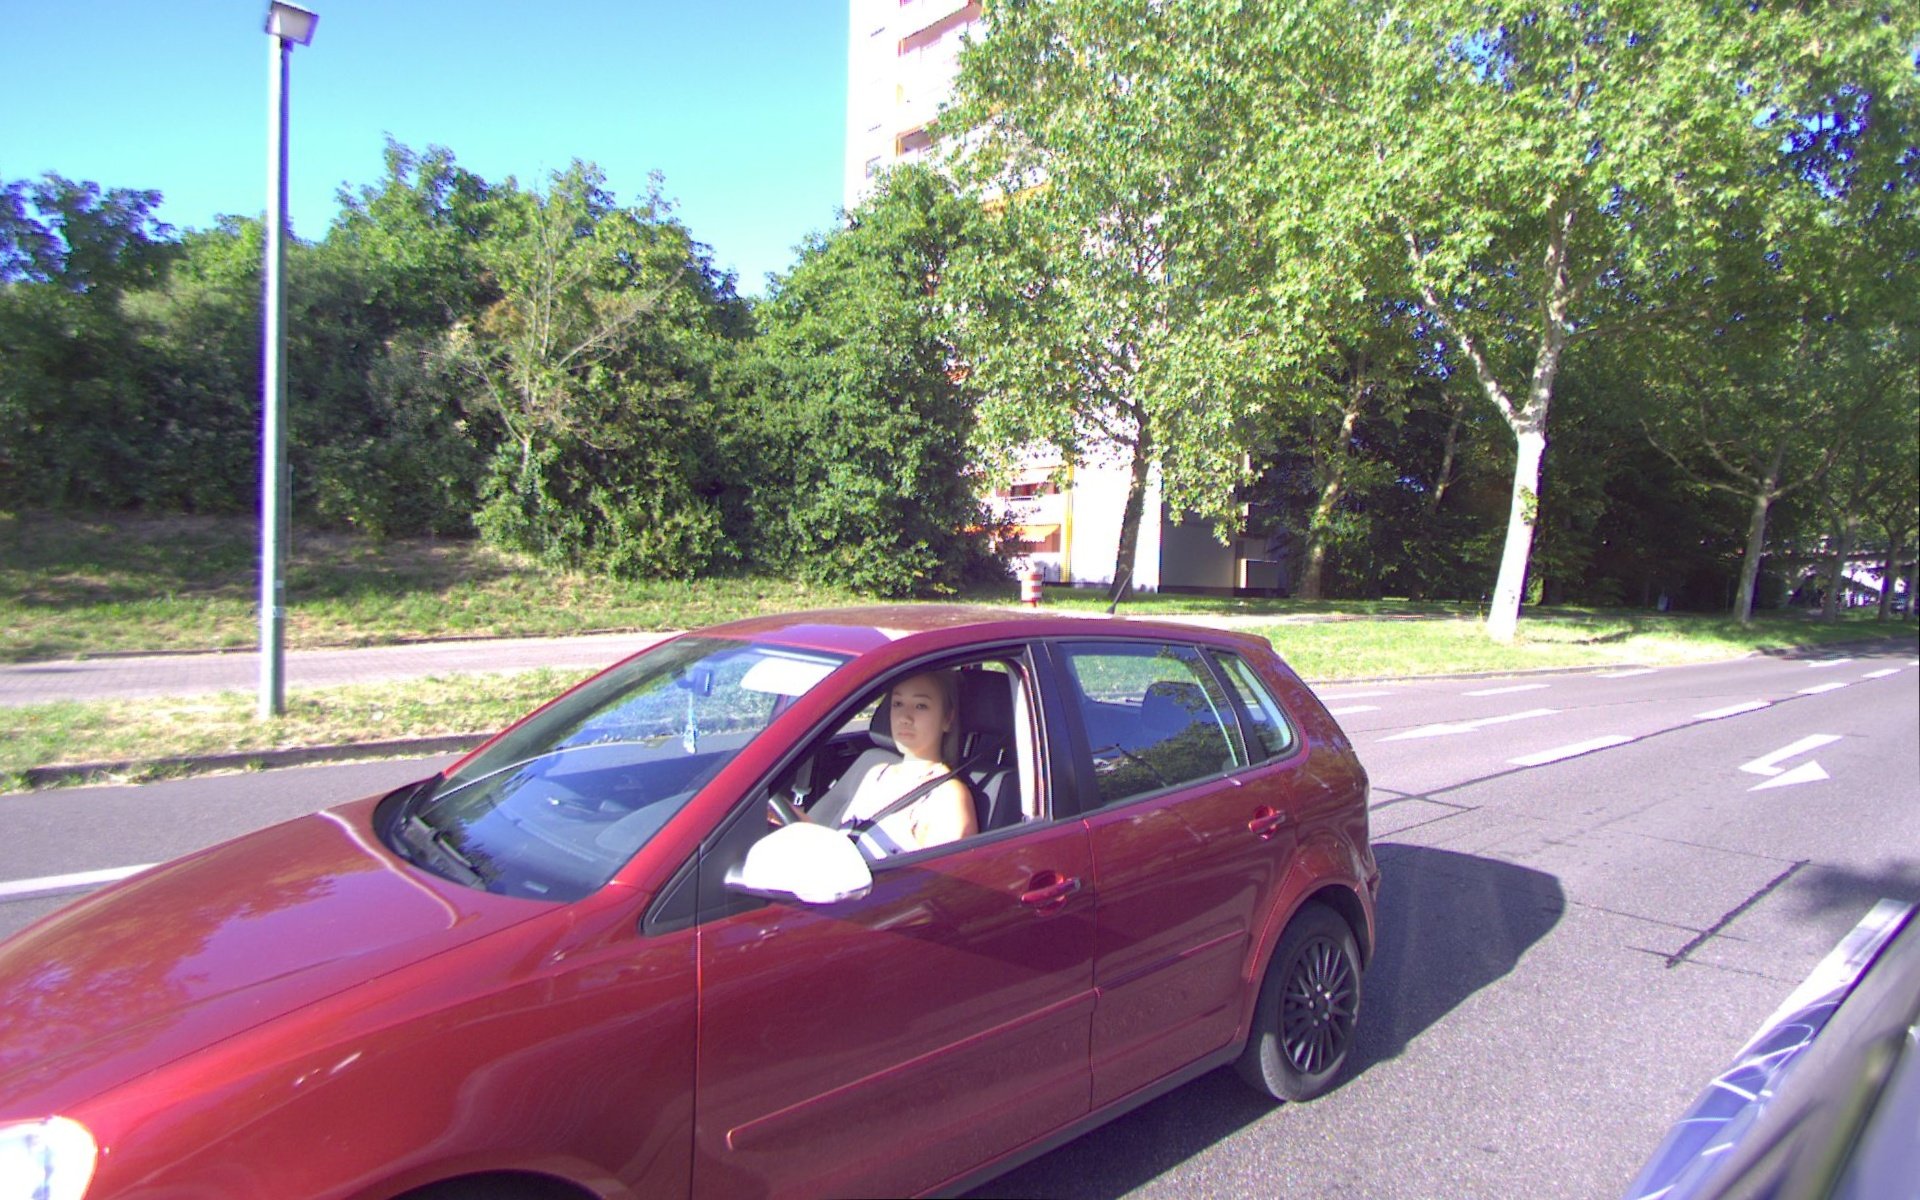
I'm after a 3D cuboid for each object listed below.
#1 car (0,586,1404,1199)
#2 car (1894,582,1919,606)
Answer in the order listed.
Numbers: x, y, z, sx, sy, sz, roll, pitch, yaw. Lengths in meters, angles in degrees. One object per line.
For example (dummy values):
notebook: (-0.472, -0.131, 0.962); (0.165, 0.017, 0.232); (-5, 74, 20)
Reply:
car: (-0.444, 0.709, 2.729); (3.624, 1.479, 1.579); (-1, 0, -40)
car: (82.522, -0.487, 85.887); (4.700, 1.959, 1.879); (1, 1, 41)
